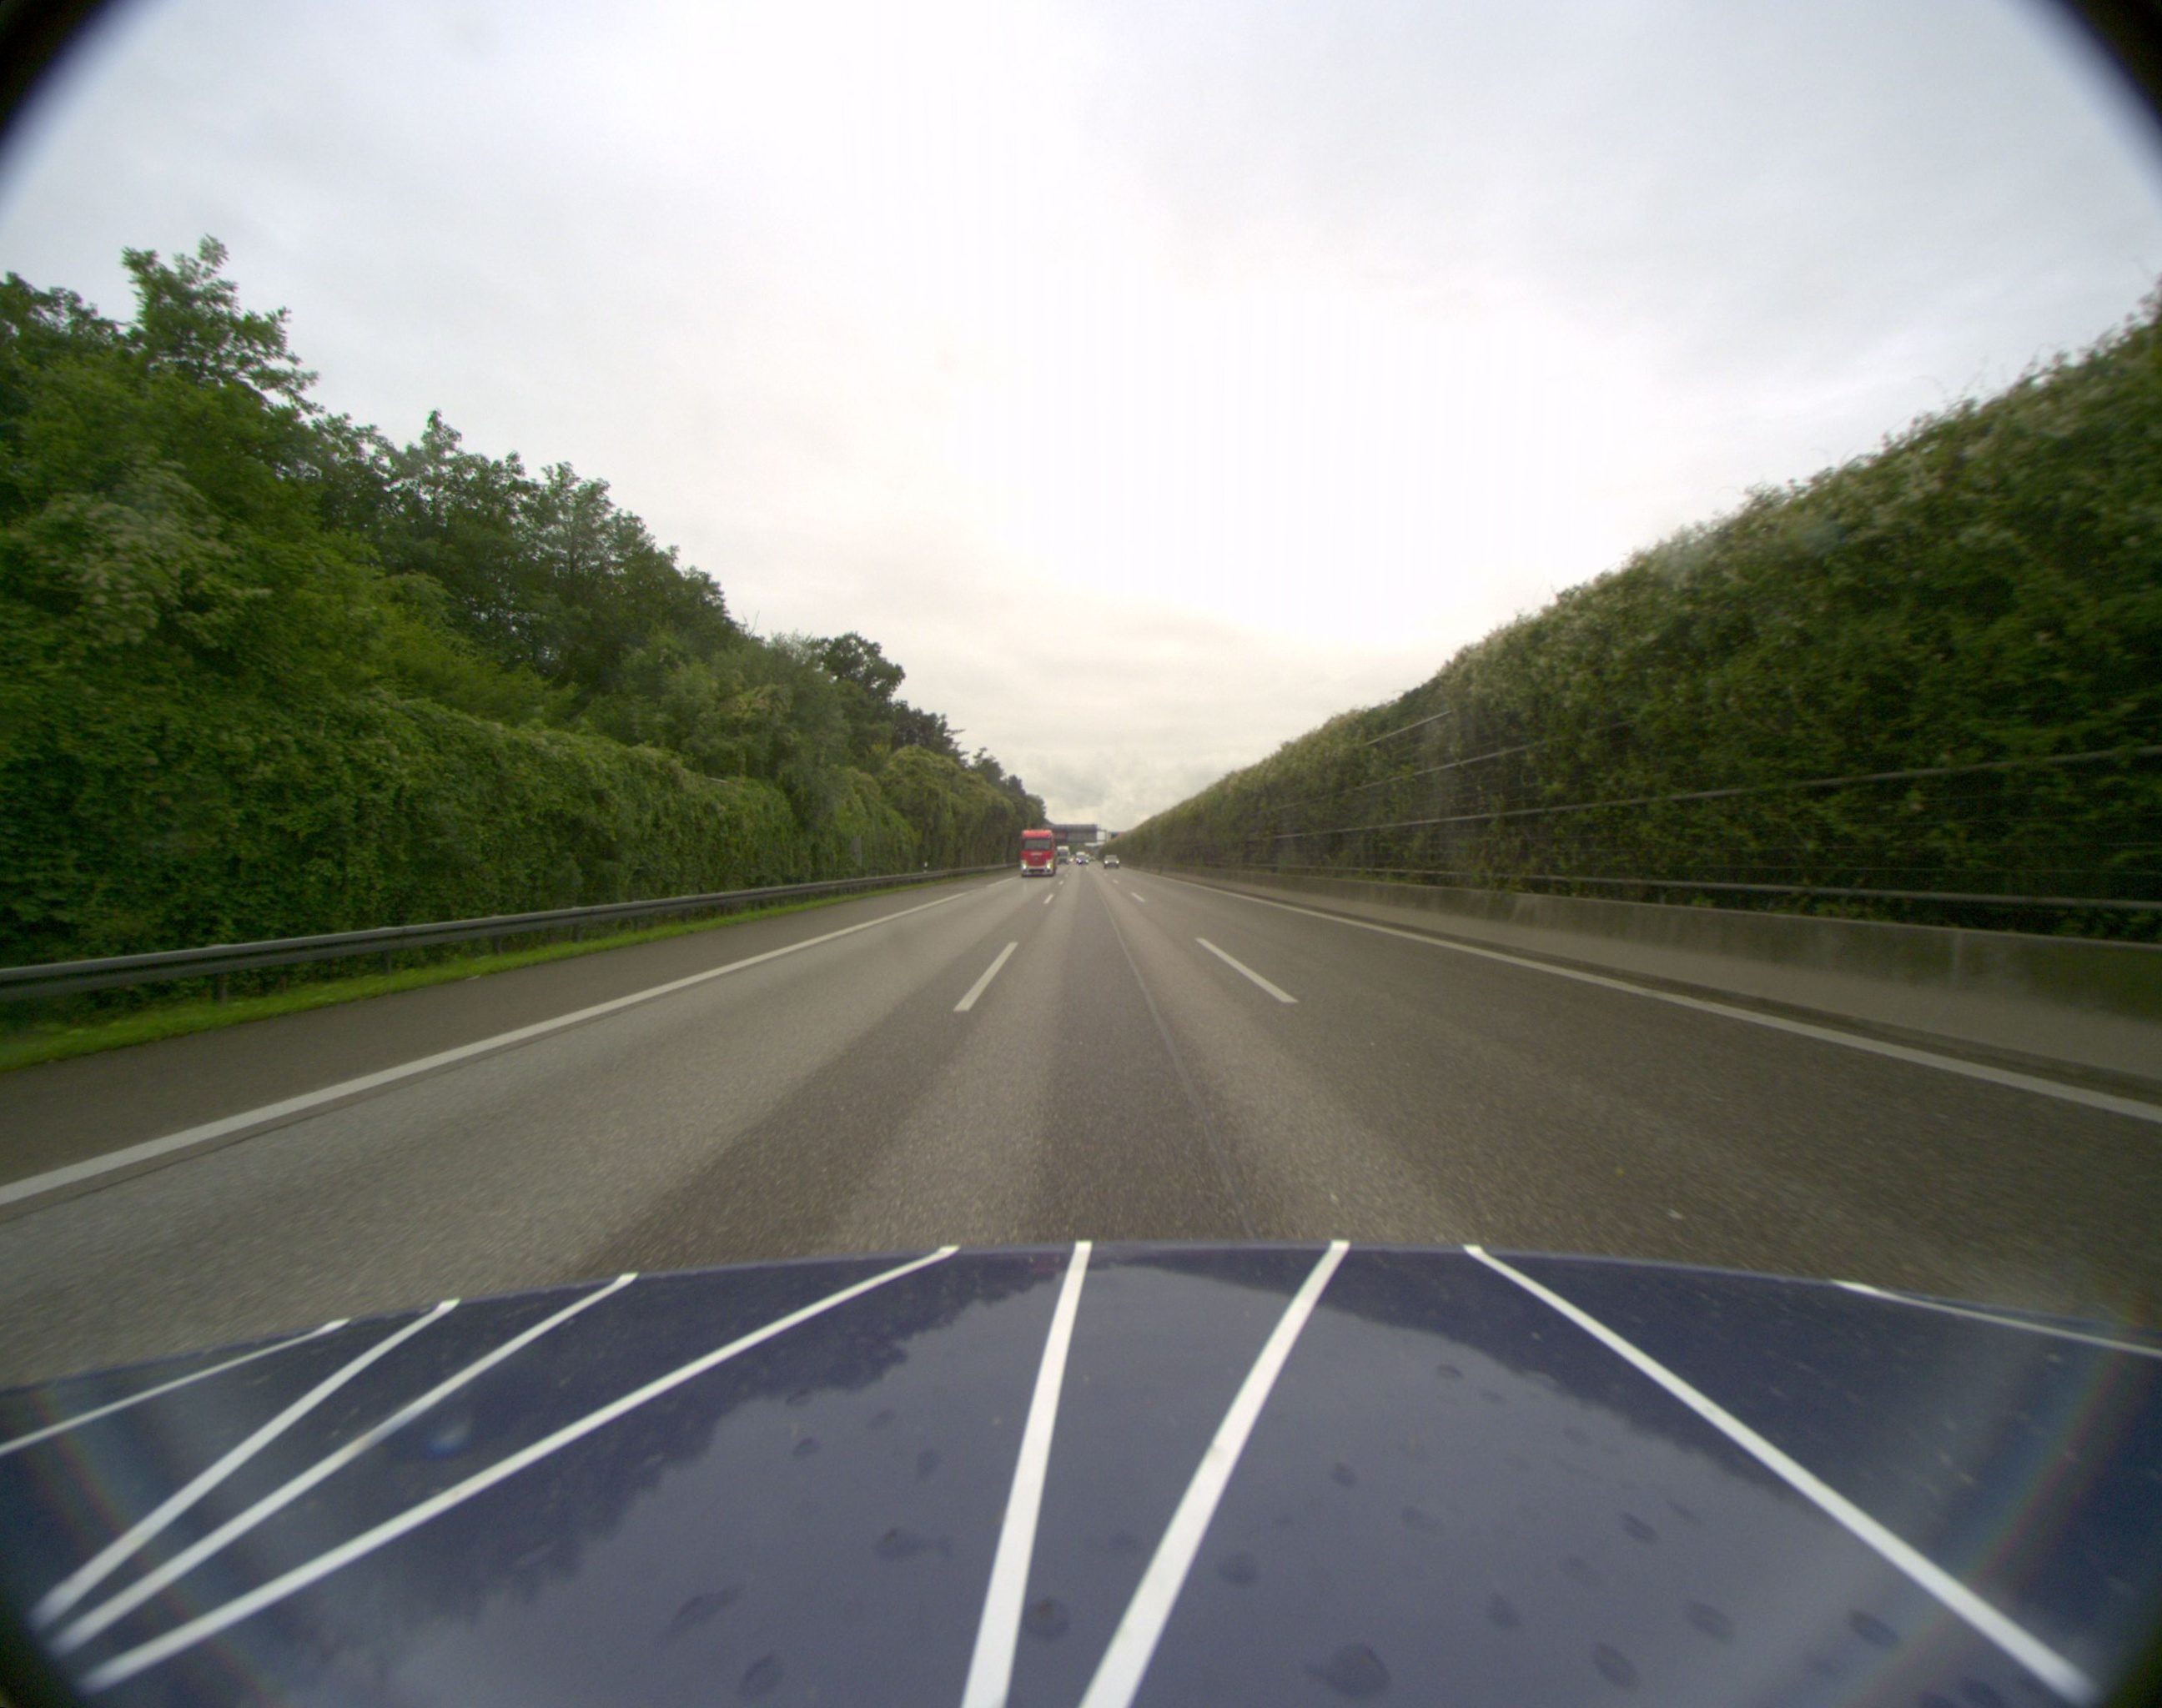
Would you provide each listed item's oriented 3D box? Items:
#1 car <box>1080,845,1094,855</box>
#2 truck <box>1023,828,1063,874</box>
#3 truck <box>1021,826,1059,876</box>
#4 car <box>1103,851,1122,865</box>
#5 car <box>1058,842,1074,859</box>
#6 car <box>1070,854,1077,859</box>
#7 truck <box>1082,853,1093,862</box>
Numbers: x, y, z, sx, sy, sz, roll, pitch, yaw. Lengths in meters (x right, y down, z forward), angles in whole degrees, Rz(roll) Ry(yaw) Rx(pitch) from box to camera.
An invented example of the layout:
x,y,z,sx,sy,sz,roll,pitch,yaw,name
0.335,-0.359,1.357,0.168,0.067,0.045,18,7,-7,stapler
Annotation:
x,y,z,sx,sy,sz,roll,pitch,yaw,name
1.289,-0.873,166.276,2.769,2.227,6.545,-2,1,0,car
-3.151,-0.363,65.778,2.708,3.690,9.839,-1,2,1,truck
-3.251,-0.279,61.040,2.709,3.809,4.197,-1,2,0,truck
4.000,0.461,96.551,2.023,1.595,5.438,-3,1,0,car
-3.181,-0.766,162.390,3.039,3.278,6.732,-2,1,0,car
-1.984,0.717,207.459,1.751,1.368,4.000,-1,0,0,car
1.188,0.581,141.467,1.825,1.535,3.999,-2,2,3,truck
